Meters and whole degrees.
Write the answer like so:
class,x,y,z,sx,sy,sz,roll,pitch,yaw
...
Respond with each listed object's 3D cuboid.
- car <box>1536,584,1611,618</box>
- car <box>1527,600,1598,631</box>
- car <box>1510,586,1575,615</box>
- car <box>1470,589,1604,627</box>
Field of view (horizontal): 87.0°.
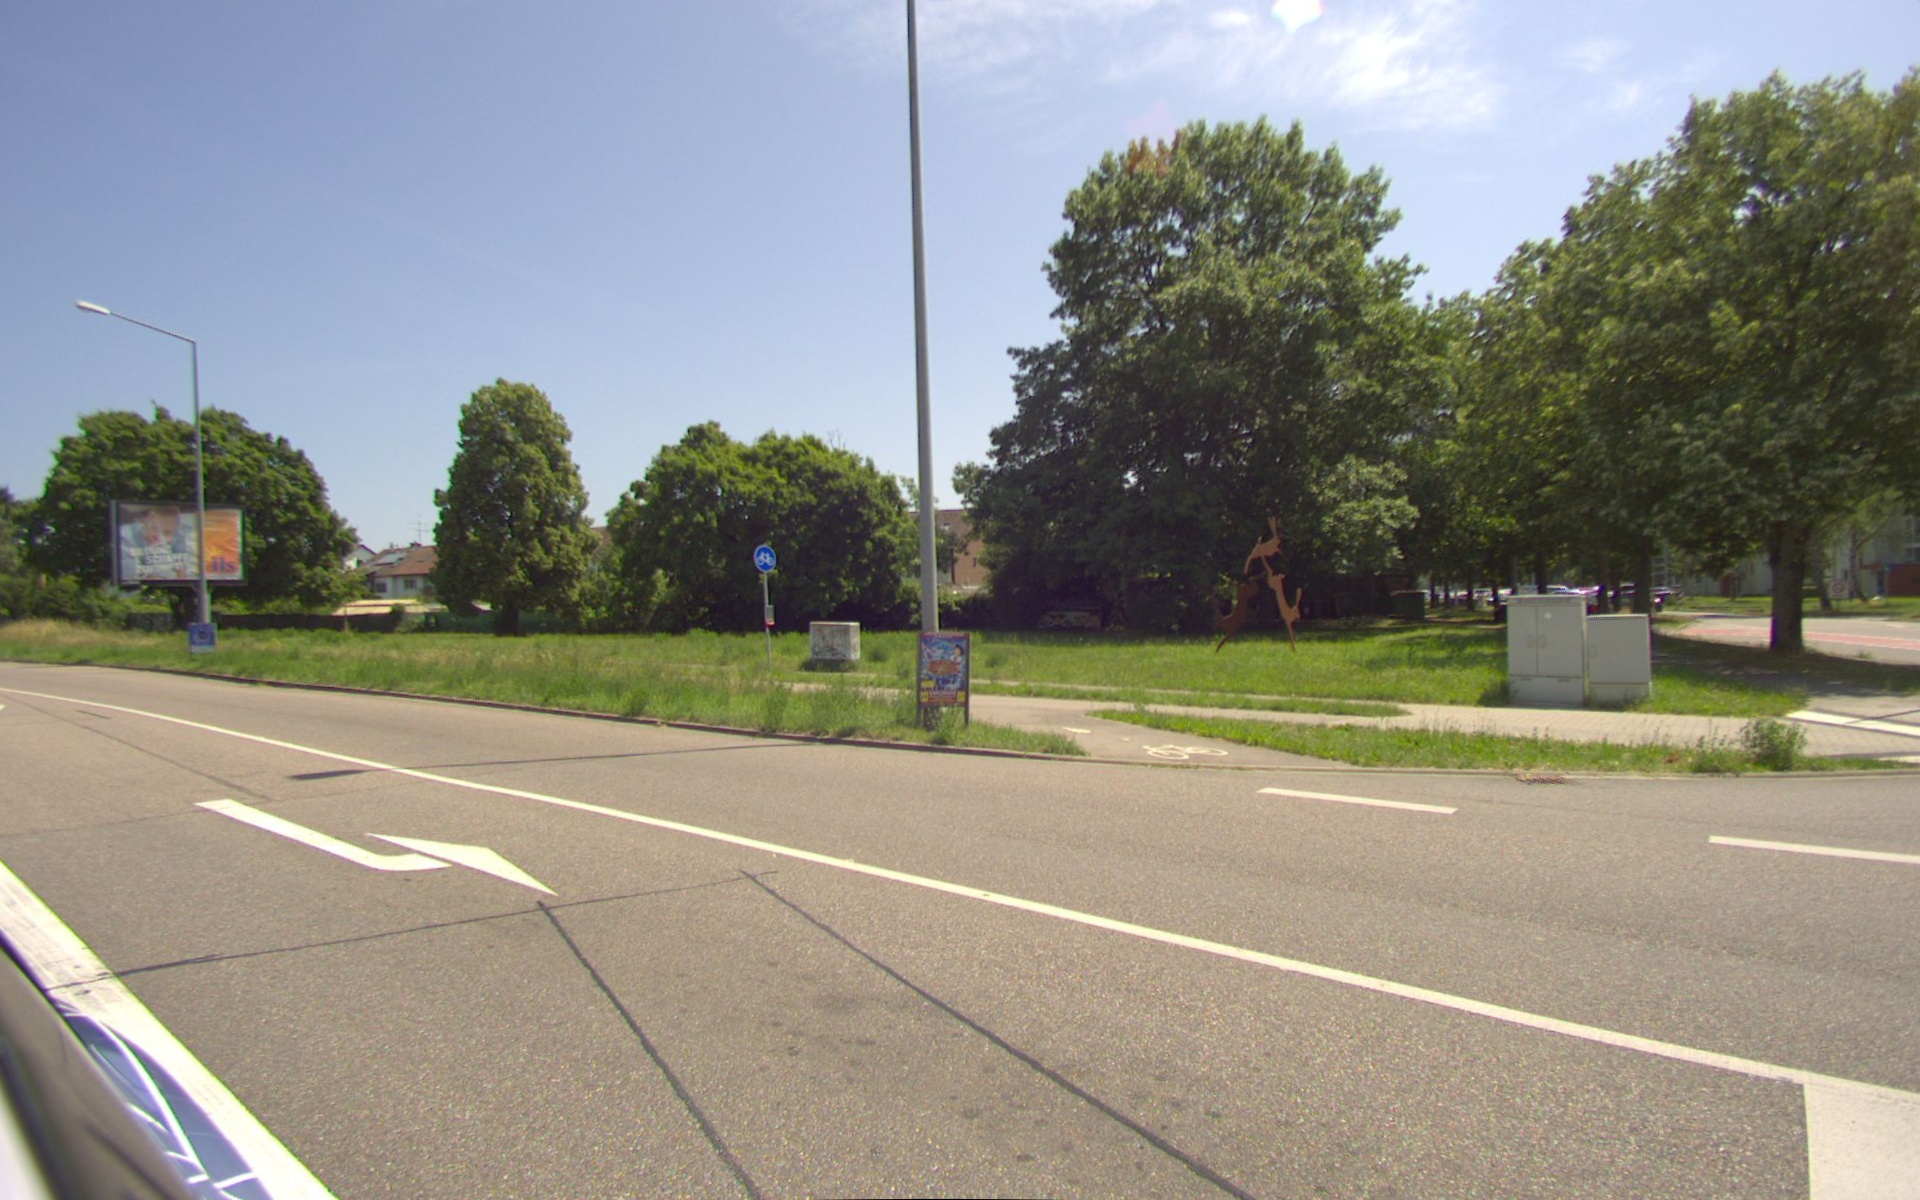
class,x,y,z,sx,sy,sz,roll,pitch,yaw
car,41.208,0.061,68.040,3.971,2.028,1.987,-2,3,21
car,42.813,1.105,72.040,3.971,2.028,1.987,-2,3,21
car,44.615,0.020,77.583,3.971,2.028,1.987,-2,3,21
car,24.716,0.357,43.507,1.966,1.479,4.597,-1,-1,-32
